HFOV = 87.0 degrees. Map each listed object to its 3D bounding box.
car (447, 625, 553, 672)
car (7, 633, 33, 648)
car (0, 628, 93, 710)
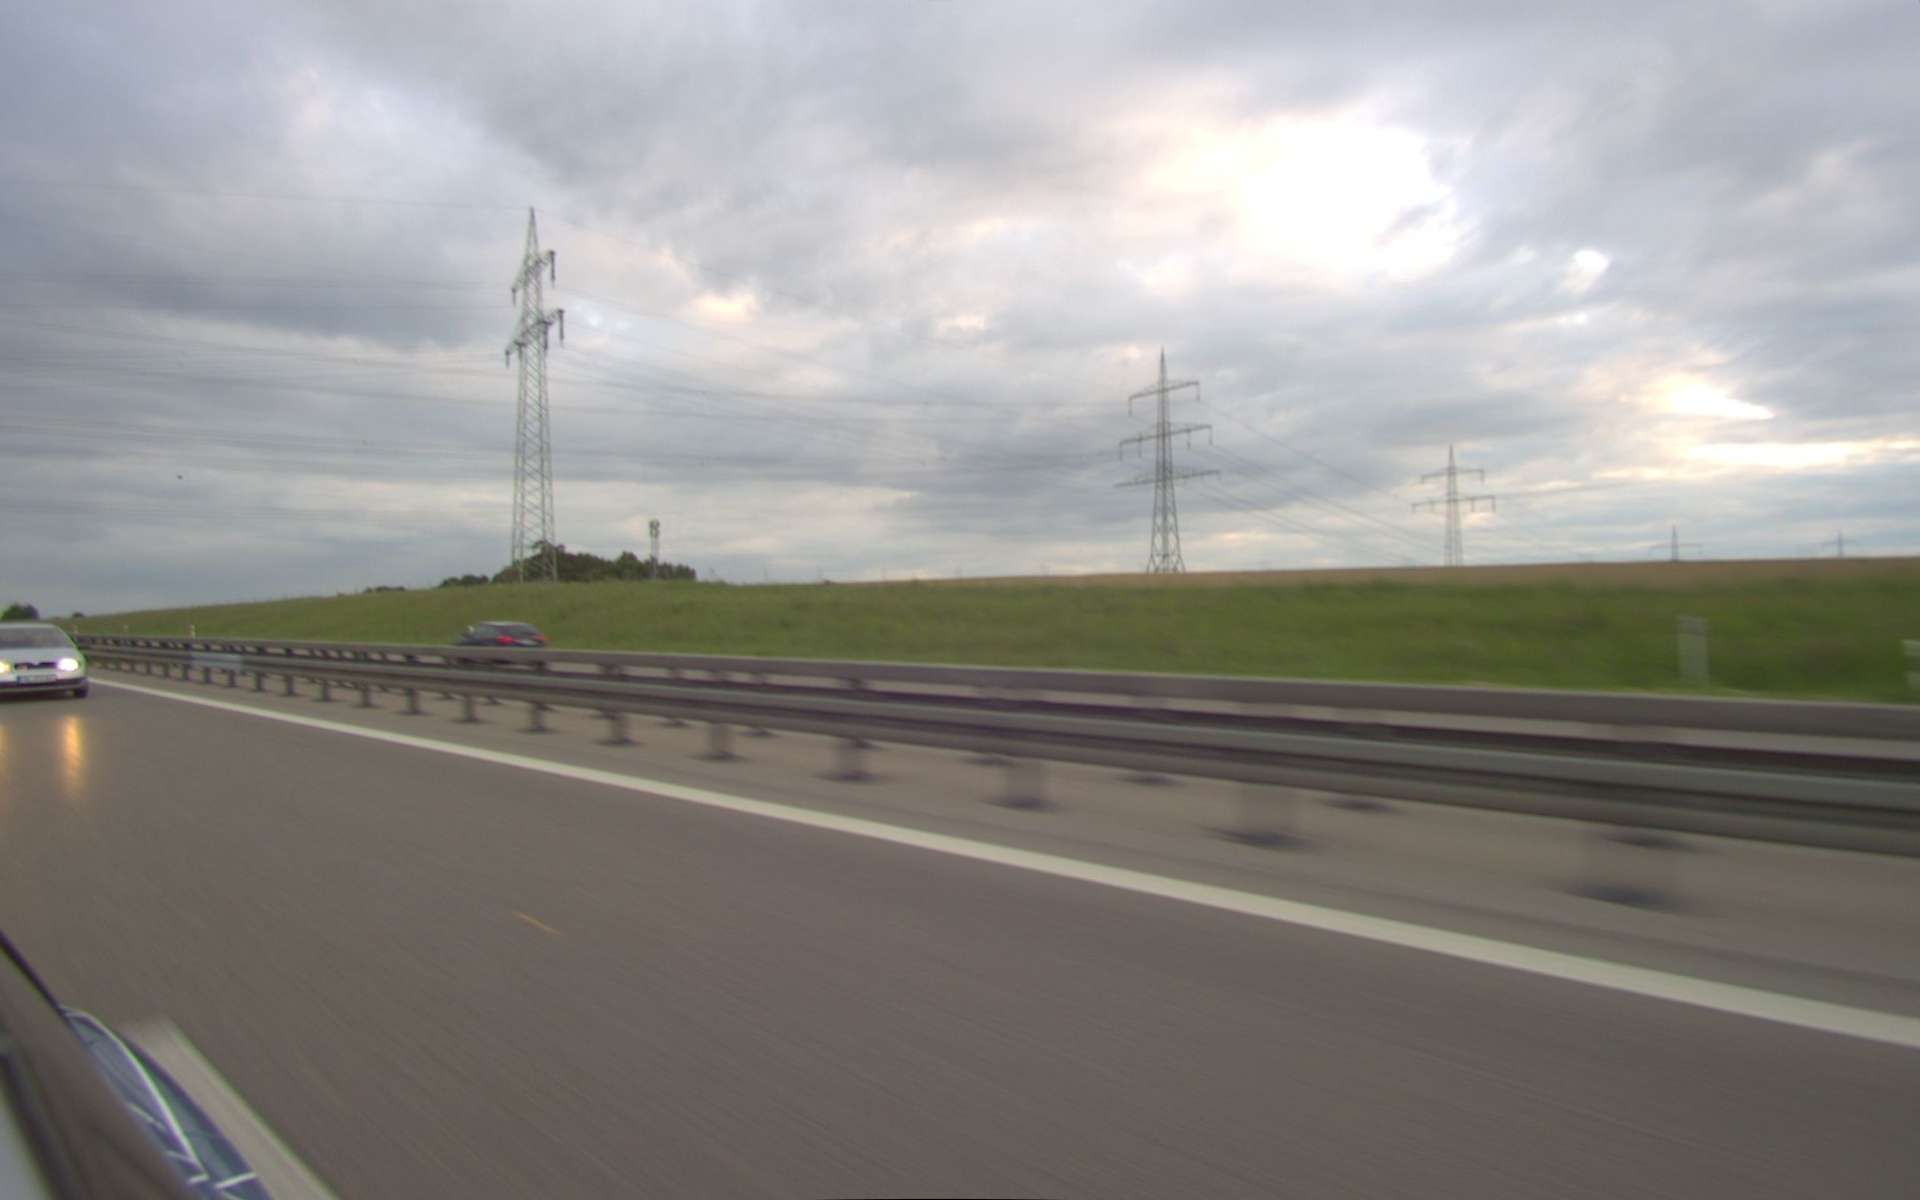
[{"bbox_3d":[-15.424,1.590,33.848,4.008,1.370,1.657,-2,1,40],"label":"car"},{"bbox_3d":[-99.369,4.261,107.013,4.431,1.444,1.512,-2,0,40],"label":"car"},{"bbox_3d":[-17.956,1.237,19.151,4.597,1.400,1.572,-1,-3,40],"label":"car"}]
